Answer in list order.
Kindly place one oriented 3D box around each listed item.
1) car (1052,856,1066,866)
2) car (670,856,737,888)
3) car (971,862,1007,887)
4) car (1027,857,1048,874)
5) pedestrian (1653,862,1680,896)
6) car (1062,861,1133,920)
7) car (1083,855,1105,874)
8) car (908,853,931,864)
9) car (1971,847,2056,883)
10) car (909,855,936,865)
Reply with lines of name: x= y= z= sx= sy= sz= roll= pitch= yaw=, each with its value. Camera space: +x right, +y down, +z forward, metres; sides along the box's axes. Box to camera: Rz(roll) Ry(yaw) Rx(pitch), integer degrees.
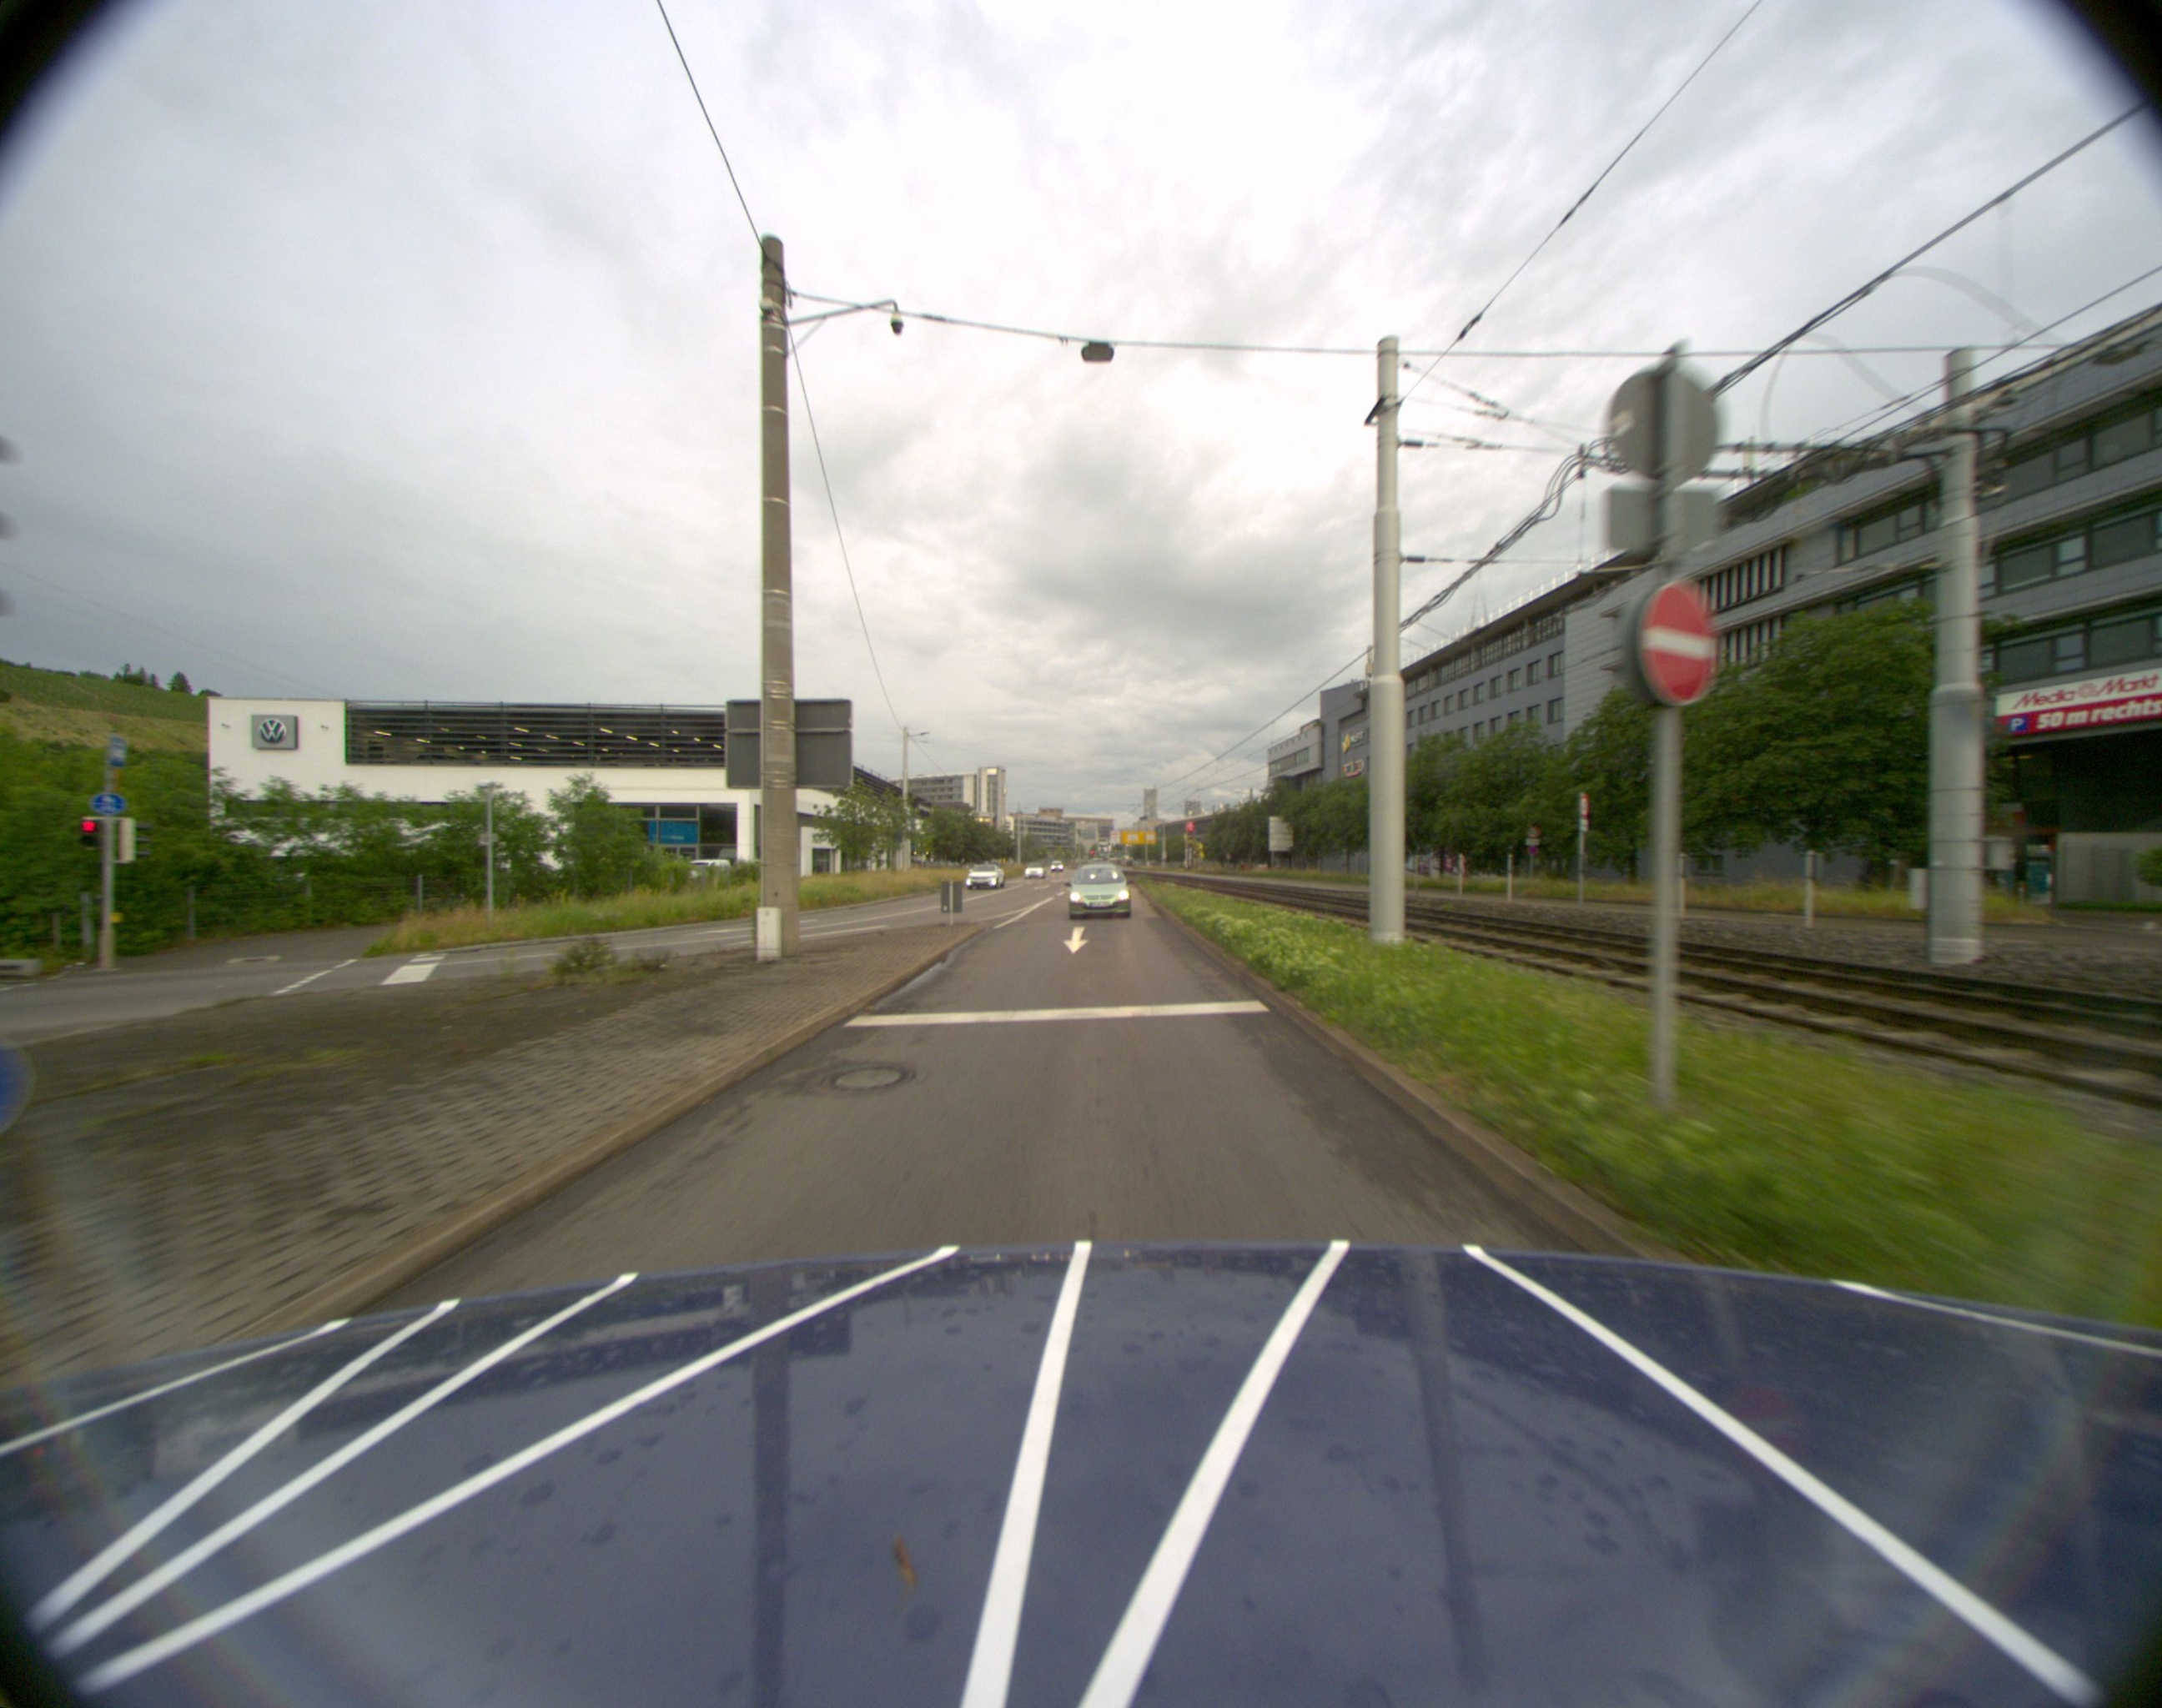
car: x=-3.477 y=1.050 z=120.641 sx=1.890 sy=1.584 sz=3.982 roll=0 pitch=0 yaw=3
car: x=-25.105 y=1.149 z=50.753 sx=2.049 sy=2.002 sz=5.089 roll=-1 pitch=0 yaw=-3
car: x=-5.609 y=1.217 z=46.719 sx=1.879 sy=1.485 sz=3.836 roll=0 pitch=0 yaw=-2
car: x=-4.097 y=1.104 z=72.192 sx=1.818 sy=1.584 sz=3.836 roll=0 pitch=0 yaw=0
pedestrian: x=30.969 y=1.288 z=40.192 sx=0.727 sy=1.745 sz=0.877 roll=-2 pitch=1 yaw=1
car: x=0.390 y=0.995 z=22.423 sx=1.762 sy=1.489 sz=4.136 roll=-2 pitch=0 yaw=-3
car: x=1.139 y=0.881 z=67.185 sx=1.762 sy=1.535 sz=3.714 roll=-2 pitch=0 yaw=-1
car: x=-30.591 y=0.823 z=143.961 sx=4.038 sy=1.964 sz=1.944 roll=1 pitch=0 yaw=-3
car: x=48.079 y=0.533 z=39.176 sx=4.004 sy=1.718 sz=1.626 roll=-1 pitch=0 yaw=-22
car: x=-25.825 y=0.914 z=124.019 sx=3.997 sy=1.499 sz=1.786 roll=-2 pitch=0 yaw=0
